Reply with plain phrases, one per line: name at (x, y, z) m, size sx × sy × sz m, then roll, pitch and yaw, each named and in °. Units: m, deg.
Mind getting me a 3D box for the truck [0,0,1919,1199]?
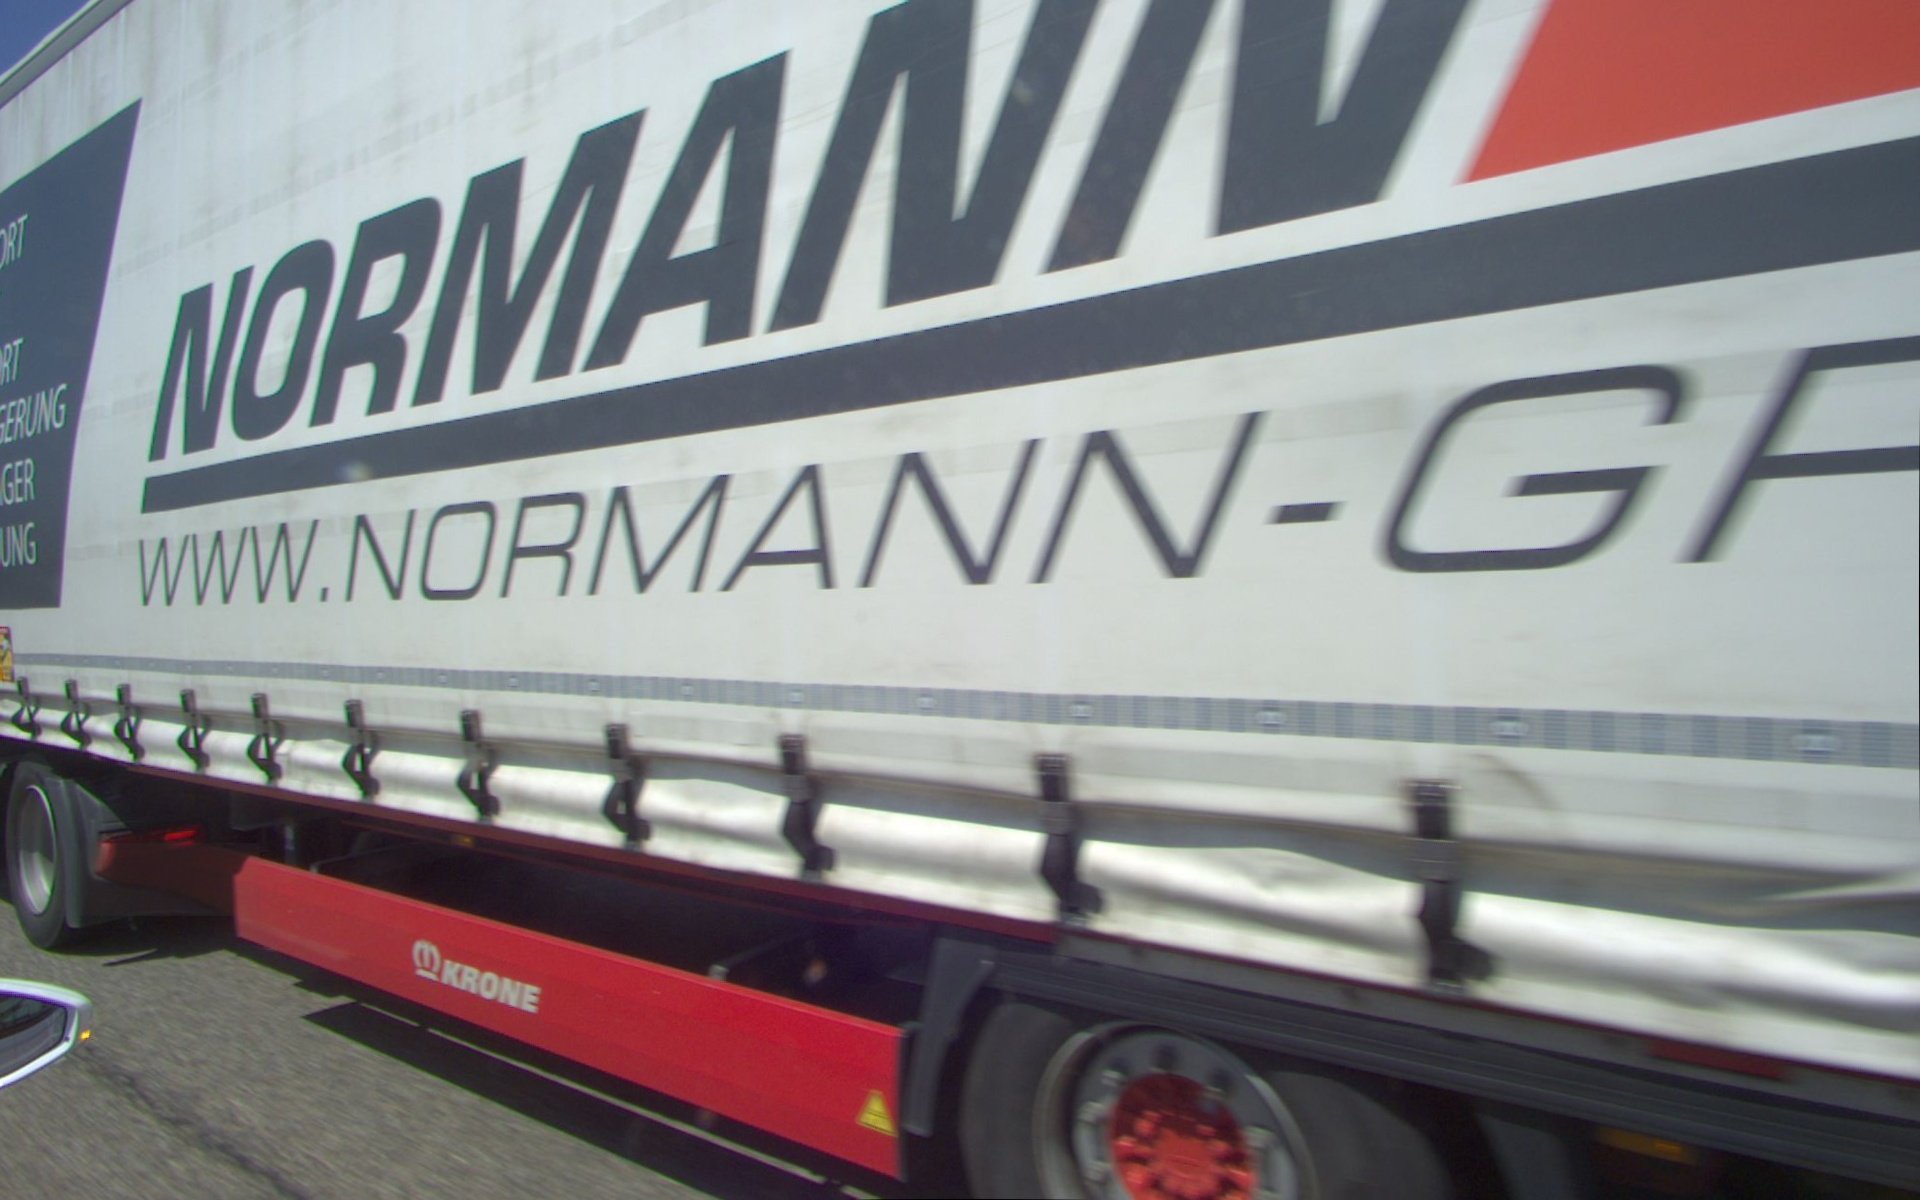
truck at (-0.829, -0.628, 3.772) m, size 17.388 × 4.146 × 2.967 m, roll -2°, pitch -1°, yaw 33°
